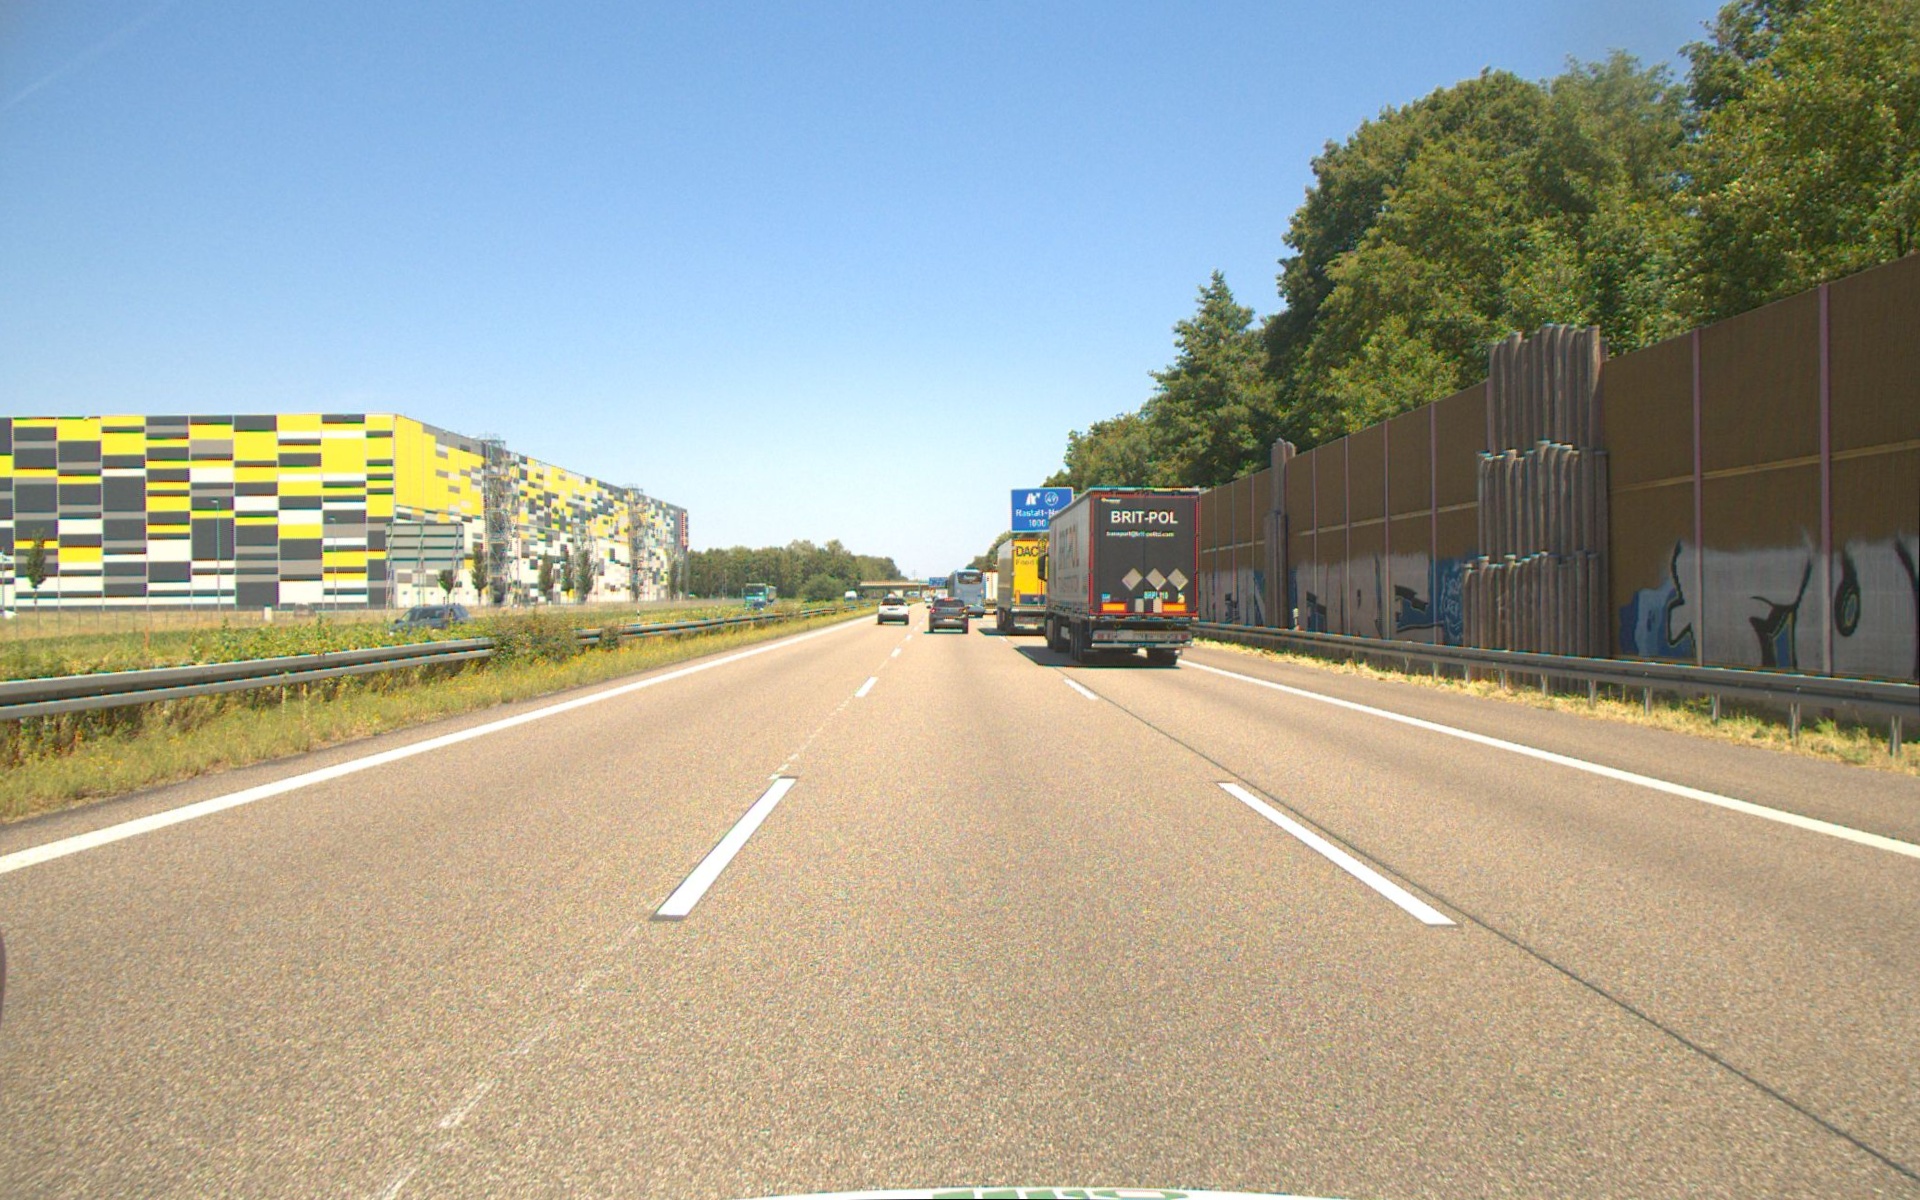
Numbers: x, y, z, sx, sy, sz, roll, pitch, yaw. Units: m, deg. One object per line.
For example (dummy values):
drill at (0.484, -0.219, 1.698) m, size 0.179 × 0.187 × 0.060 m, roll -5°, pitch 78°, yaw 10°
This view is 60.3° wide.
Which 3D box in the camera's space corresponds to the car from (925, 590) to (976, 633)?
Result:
car at (-0.470, 0.489, 73.911) m, size 2.171 × 1.821 × 5.392 m, roll -1°, pitch 0°, yaw -1°

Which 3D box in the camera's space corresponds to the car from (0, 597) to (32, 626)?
car at (-74.435, 0.914, 126.801) m, size 5.541 × 2.216 × 2.085 m, roll -1°, pitch 0°, yaw -34°

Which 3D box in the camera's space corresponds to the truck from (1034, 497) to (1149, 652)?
truck at (4.001, -0.739, 51.690) m, size 3.024 × 4.518 × 6.052 m, roll 0°, pitch 0°, yaw -1°

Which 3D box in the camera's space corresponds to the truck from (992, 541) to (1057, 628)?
truck at (3.095, -0.730, 80.864) m, size 2.756 × 4.076 × 6.643 m, roll 0°, pitch 0°, yaw -1°

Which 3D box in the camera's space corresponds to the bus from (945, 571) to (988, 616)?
bus at (0.458, -0.533, 130.391) m, size 3.001 × 3.385 × 8.270 m, roll -1°, pitch 0°, yaw -2°

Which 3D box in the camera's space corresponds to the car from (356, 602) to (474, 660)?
car at (-17.312, 0.947, 52.843) m, size 1.953 × 1.709 × 5.551 m, roll -1°, pitch 0°, yaw 0°

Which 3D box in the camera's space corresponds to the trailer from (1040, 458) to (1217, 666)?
trailer at (4.094, -0.824, 44.178) m, size 3.043 × 4.585 × 14.893 m, roll 1°, pitch 0°, yaw -1°

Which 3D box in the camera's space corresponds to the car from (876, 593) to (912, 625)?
car at (-3.723, 0.471, 93.531) m, size 1.953 × 1.758 × 4.129 m, roll 0°, pitch 0°, yaw -2°

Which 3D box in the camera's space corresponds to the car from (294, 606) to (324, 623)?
car at (-67.804, 1.488, 172.307) m, size 1.650 × 1.757 × 4.110 m, roll -1°, pitch 0°, yaw -2°

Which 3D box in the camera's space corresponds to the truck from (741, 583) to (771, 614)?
truck at (-22.494, -0.131, 182.327) m, size 2.643 × 3.307 × 5.837 m, roll -1°, pitch 0°, yaw -1°

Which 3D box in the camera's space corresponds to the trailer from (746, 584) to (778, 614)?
trailer at (-22.480, -0.121, 188.094) m, size 2.621 × 3.294 × 9.257 m, roll 0°, pitch 0°, yaw -1°

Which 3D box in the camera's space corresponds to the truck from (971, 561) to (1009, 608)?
truck at (2.744, -1.396, 155.788) m, size 3.352 × 4.198 × 9.564 m, roll -1°, pitch 0°, yaw 0°

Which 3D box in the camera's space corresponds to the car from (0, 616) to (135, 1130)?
car at (-3.548, 0.771, 3.378) m, size 1.756 × 1.436 × 4.051 m, roll 0°, pitch 0°, yaw -1°

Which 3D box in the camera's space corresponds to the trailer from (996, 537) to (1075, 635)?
trailer at (3.250, -0.608, 73.850) m, size 2.777 × 4.023 × 11.681 m, roll 0°, pitch 0°, yaw -1°

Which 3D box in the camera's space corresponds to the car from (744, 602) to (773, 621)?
car at (-18.570, 1.013, 152.589) m, size 1.953 × 1.668 × 5.662 m, roll -1°, pitch 0°, yaw 0°
